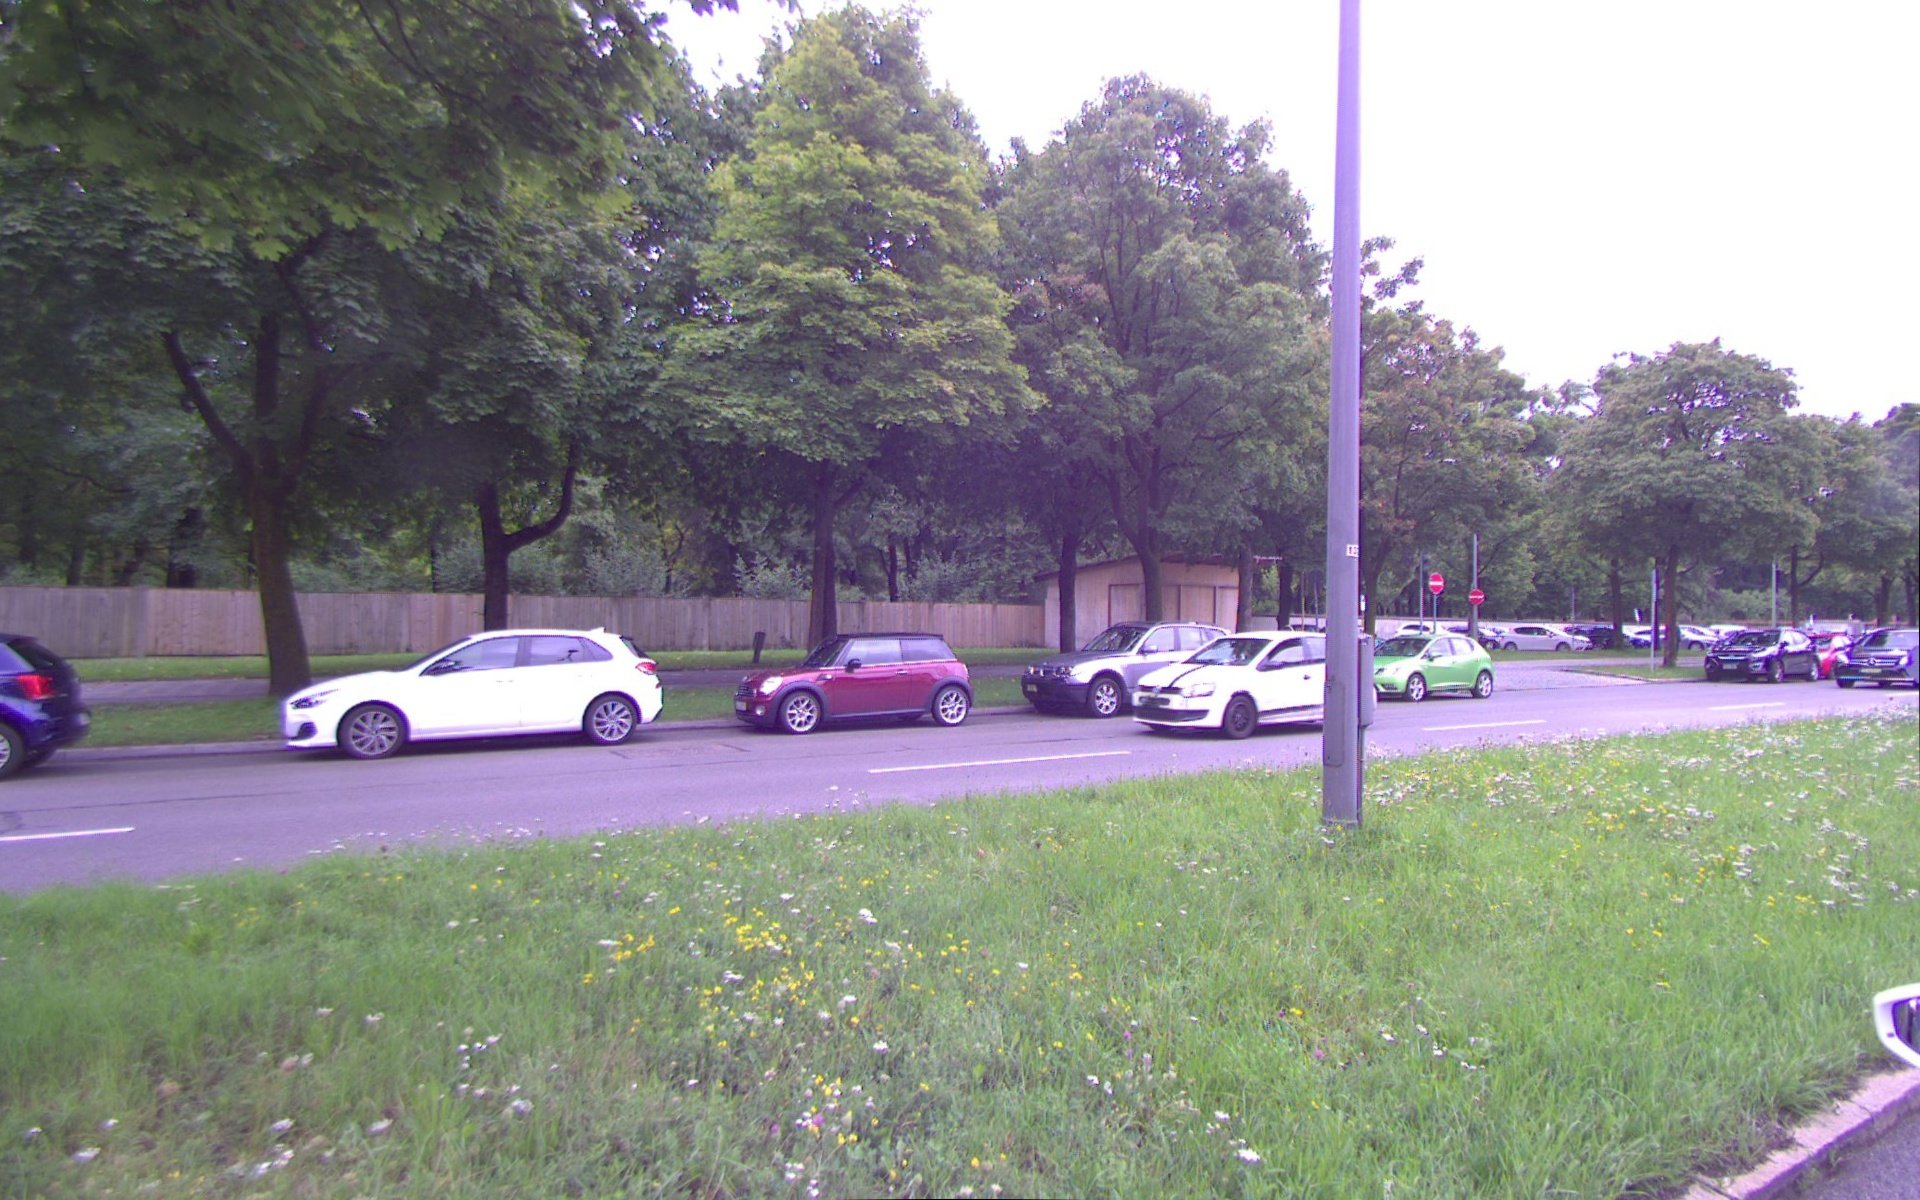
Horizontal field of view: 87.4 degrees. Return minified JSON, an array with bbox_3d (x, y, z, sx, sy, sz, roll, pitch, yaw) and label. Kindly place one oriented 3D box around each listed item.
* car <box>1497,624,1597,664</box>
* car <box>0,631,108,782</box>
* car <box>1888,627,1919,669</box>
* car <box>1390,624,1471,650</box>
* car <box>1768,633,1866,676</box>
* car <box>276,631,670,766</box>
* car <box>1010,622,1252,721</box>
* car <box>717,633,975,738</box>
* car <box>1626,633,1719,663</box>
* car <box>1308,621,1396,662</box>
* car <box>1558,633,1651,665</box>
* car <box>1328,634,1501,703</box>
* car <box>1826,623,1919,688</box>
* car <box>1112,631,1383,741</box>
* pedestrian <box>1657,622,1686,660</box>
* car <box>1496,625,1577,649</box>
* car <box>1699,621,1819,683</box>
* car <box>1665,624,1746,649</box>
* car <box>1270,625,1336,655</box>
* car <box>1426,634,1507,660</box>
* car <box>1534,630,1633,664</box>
[{"bbox_3d":[28.558,2.111,48.953,1.656,1.740,3.892,1,0,-35],"label":"car"},{"bbox_3d":[-10.730,1.021,9.497,3.856,1.436,1.604,1,-3,-33],"label":"car"},{"bbox_3d":[38.063,1.887,39.306,3.835,1.579,1.582,2,0,-32],"label":"car"},{"bbox_3d":[29.821,2.331,63.802,1.653,1.496,4.485,2,0,-29],"label":"car"},{"bbox_3d":[29.180,1.823,34.190,3.343,1.329,1.582,2,0,-32],"label":"car"},{"bbox_3d":[-5.988,1.128,12.663,4.229,1.463,1.599,1,-2,-31],"label":"car"},{"bbox_3d":[3.146,1.235,18.234,4.322,1.607,1.682,1,-2,-32],"label":"car"},{"bbox_3d":[-1.707,1.221,15.246,3.586,1.415,1.584,1,-2,-29],"label":"car"},{"bbox_3d":[39.124,2.623,55.204,1.656,1.465,3.840,2,0,-35],"label":"car"},{"bbox_3d":[15.850,1.642,40.869,1.922,1.465,4.421,2,0,1],"label":"car"},{"bbox_3d":[34.082,2.553,53.197,1.656,1.465,3.840,2,0,-35],"label":"car"},{"bbox_3d":[10.203,1.481,22.526,3.831,1.428,1.541,1,-2,-29],"label":"car"},{"bbox_3d":[25.877,1.502,27.662,4.455,1.644,1.757,1,-3,-31],"label":"car"},{"bbox_3d":[4.166,1.164,14.439,3.794,1.393,1.610,1,-3,-31],"label":"car"},{"bbox_3d":[29.648,1.702,41.837,0.712,1.554,0.724,1,0,-30],"label":"pedestrian"},{"bbox_3d":[39.334,2.485,68.648,1.653,1.465,4.669,1,0,-29],"label":"car"},{"bbox_3d":[24.913,1.594,31.290,3.835,1.764,1.707,2,0,-32],"label":"car"},{"bbox_3d":[47.716,2.327,64.358,1.656,1.465,3.840,2,0,-35],"label":"car"},{"bbox_3d":[15.870,1.810,46.668,1.639,1.217,4.421,2,0,1],"label":"car"},{"bbox_3d":[33.263,3.077,66.117,1.653,1.465,4.669,1,0,-29],"label":"car"},{"bbox_3d":[31.092,2.321,50.189,1.656,1.465,3.840,2,0,-35],"label":"car"}]
